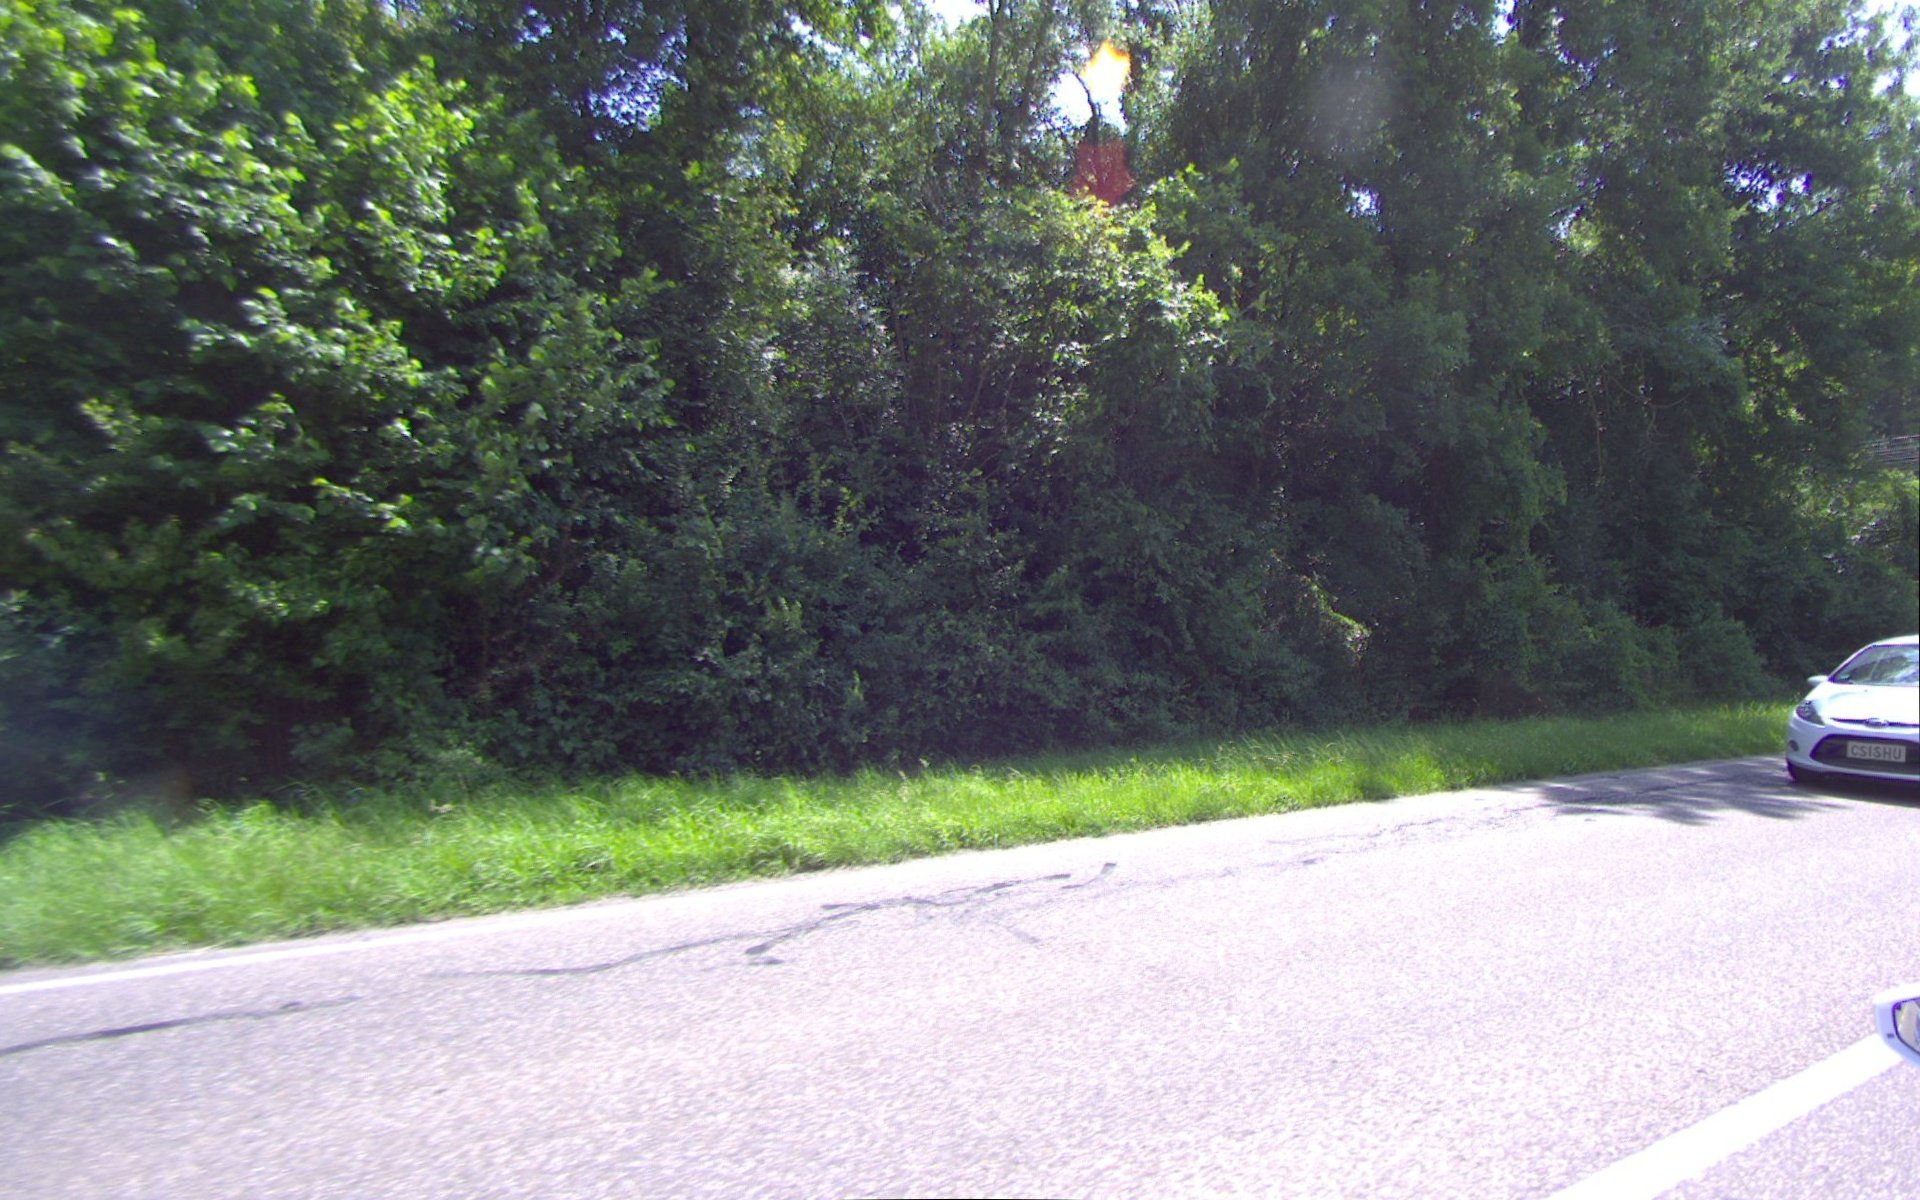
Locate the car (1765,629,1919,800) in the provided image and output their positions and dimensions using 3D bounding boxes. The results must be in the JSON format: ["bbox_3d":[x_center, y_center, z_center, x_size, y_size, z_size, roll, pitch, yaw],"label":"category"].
[{"bbox_3d":[9.728,1.028,9.802,3.726,1.452,1.670,1,-1,-29],"label":"car"}]
